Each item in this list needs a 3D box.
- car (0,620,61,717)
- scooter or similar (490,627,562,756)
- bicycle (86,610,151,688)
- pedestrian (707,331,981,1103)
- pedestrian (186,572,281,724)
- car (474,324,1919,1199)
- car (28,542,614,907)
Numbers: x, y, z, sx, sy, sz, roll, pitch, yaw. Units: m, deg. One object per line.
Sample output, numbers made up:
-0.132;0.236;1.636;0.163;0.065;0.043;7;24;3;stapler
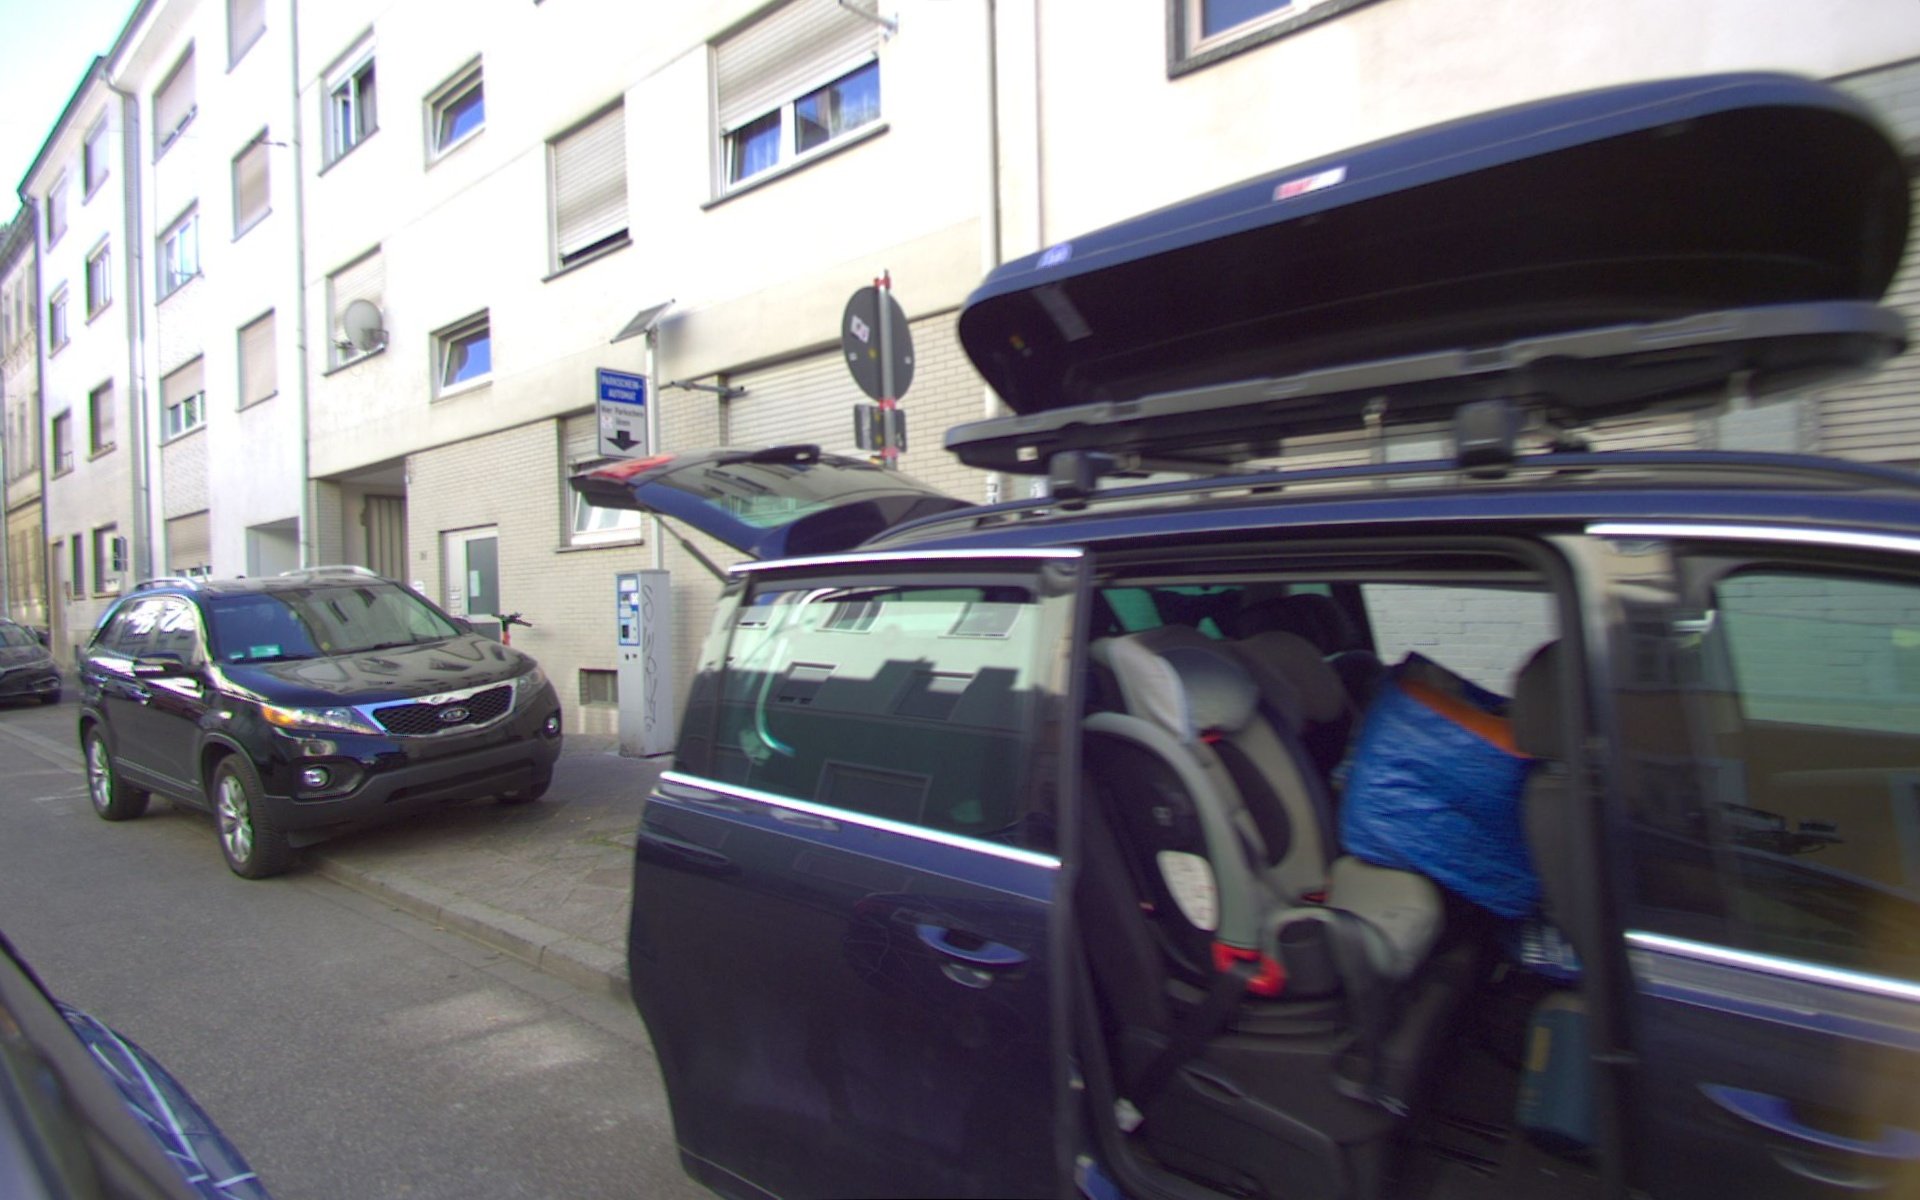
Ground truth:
-16.607;1.121;16.887;4.296;1.461;1.690;-1;0;39;car
-4.652;0.946;10.900;0.431;1.288;1.236;-1;-1;-9;scooter or similar
-17.214;0.989;20.684;1.797;1.520;0.552;-1;1;37;bicycle
-0.387;0.338;3.401;0.687;2.245;0.613;0;0;40;pedestrian
-9.810;0.628;13.670;0.690;1.948;0.798;-2;2;39;pedestrian
1.372;0.576;2.198;5.238;1.718;2.417;-2;0;40;car
-4.634;0.643;7.079;4.534;1.768;1.863;-2;2;36;car
